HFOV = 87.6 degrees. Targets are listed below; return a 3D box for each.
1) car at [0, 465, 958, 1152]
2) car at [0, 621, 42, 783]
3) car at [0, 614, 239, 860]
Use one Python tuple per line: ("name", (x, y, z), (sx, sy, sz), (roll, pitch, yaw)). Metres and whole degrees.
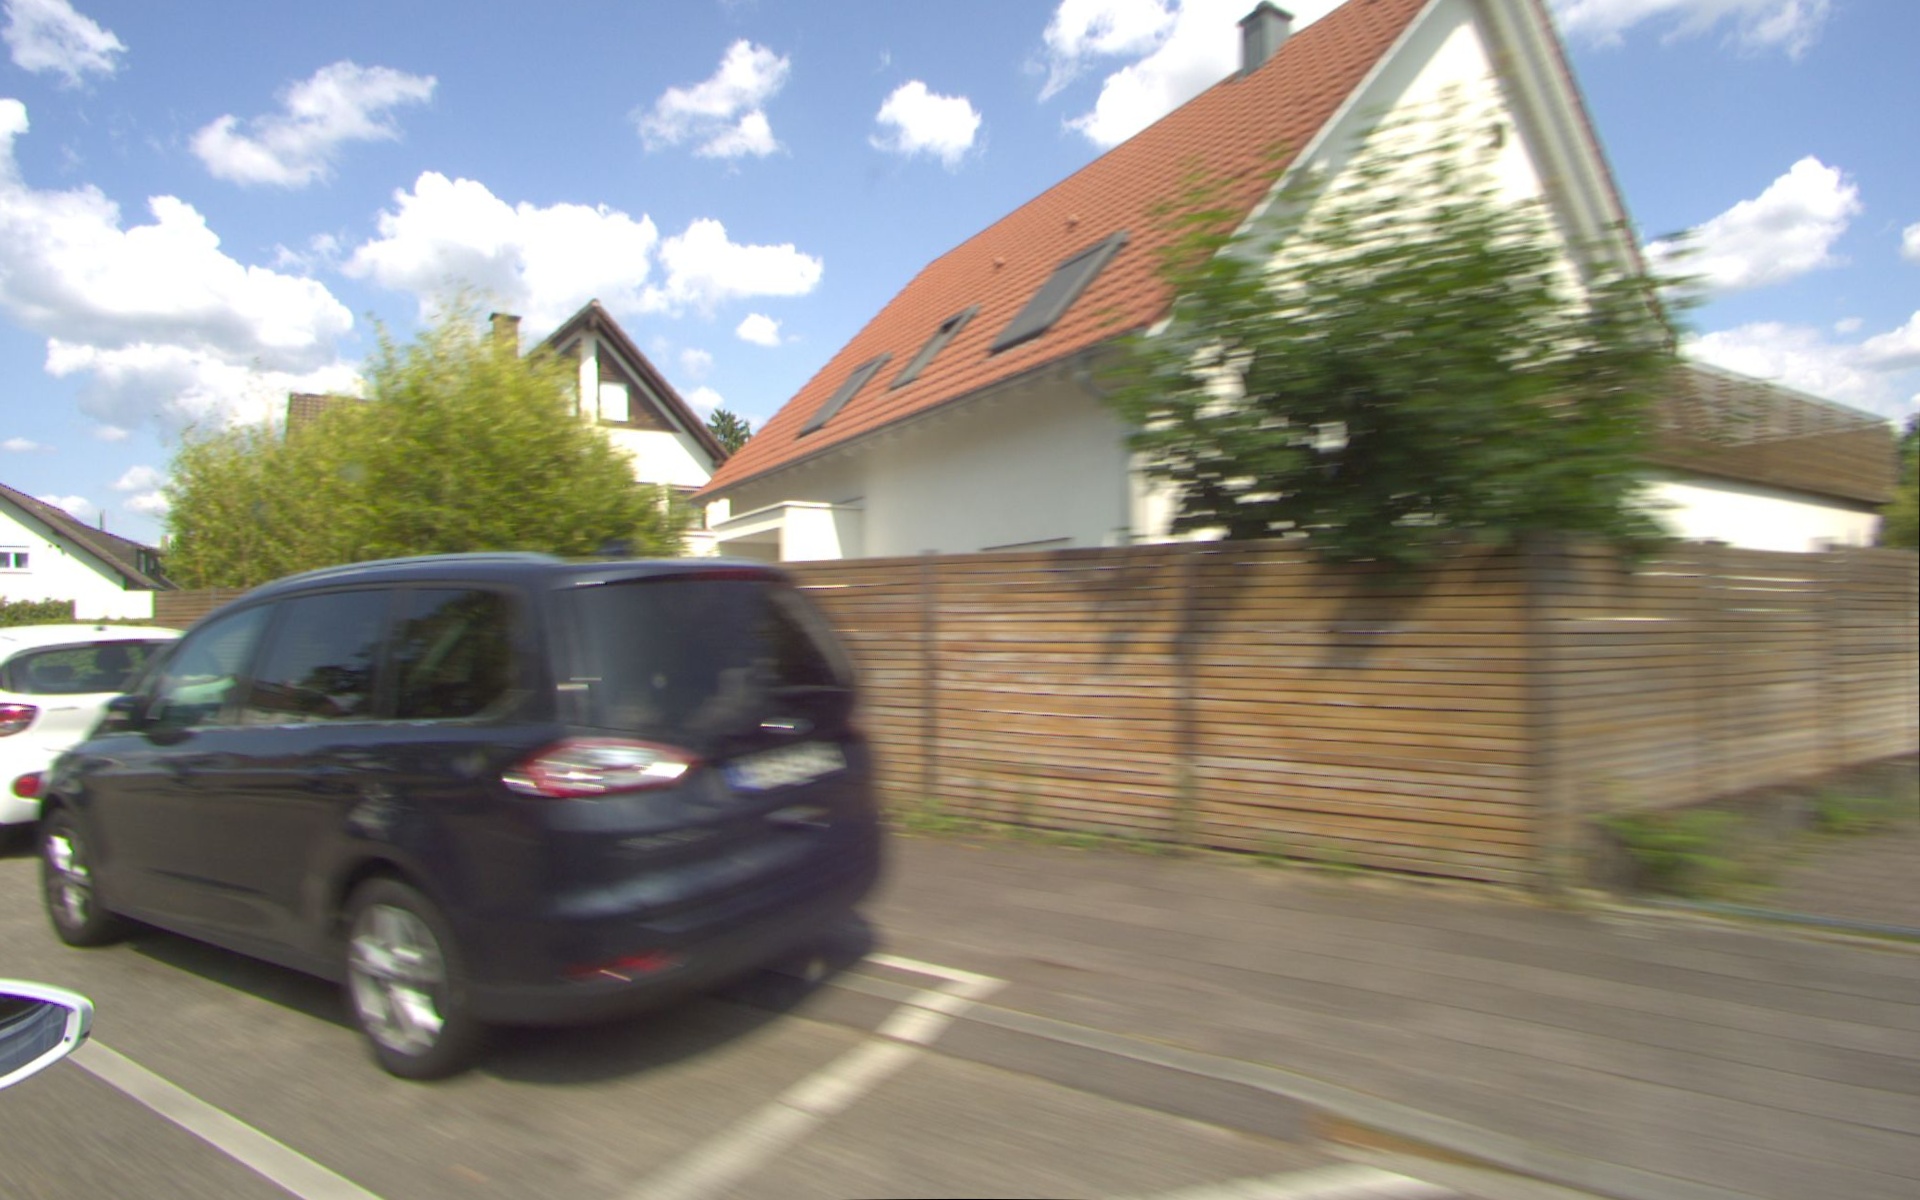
("car", (-2.478, 0.646, 4.657), (4.641, 1.796, 1.888), (-2, -2, 31))
("car", (-11.444, 1.009, 10.405), (4.230, 1.572, 1.742), (-1, -2, 32))
("car", (-7.182, 0.883, 7.674), (3.618, 1.524, 1.440), (-1, -1, 32))
